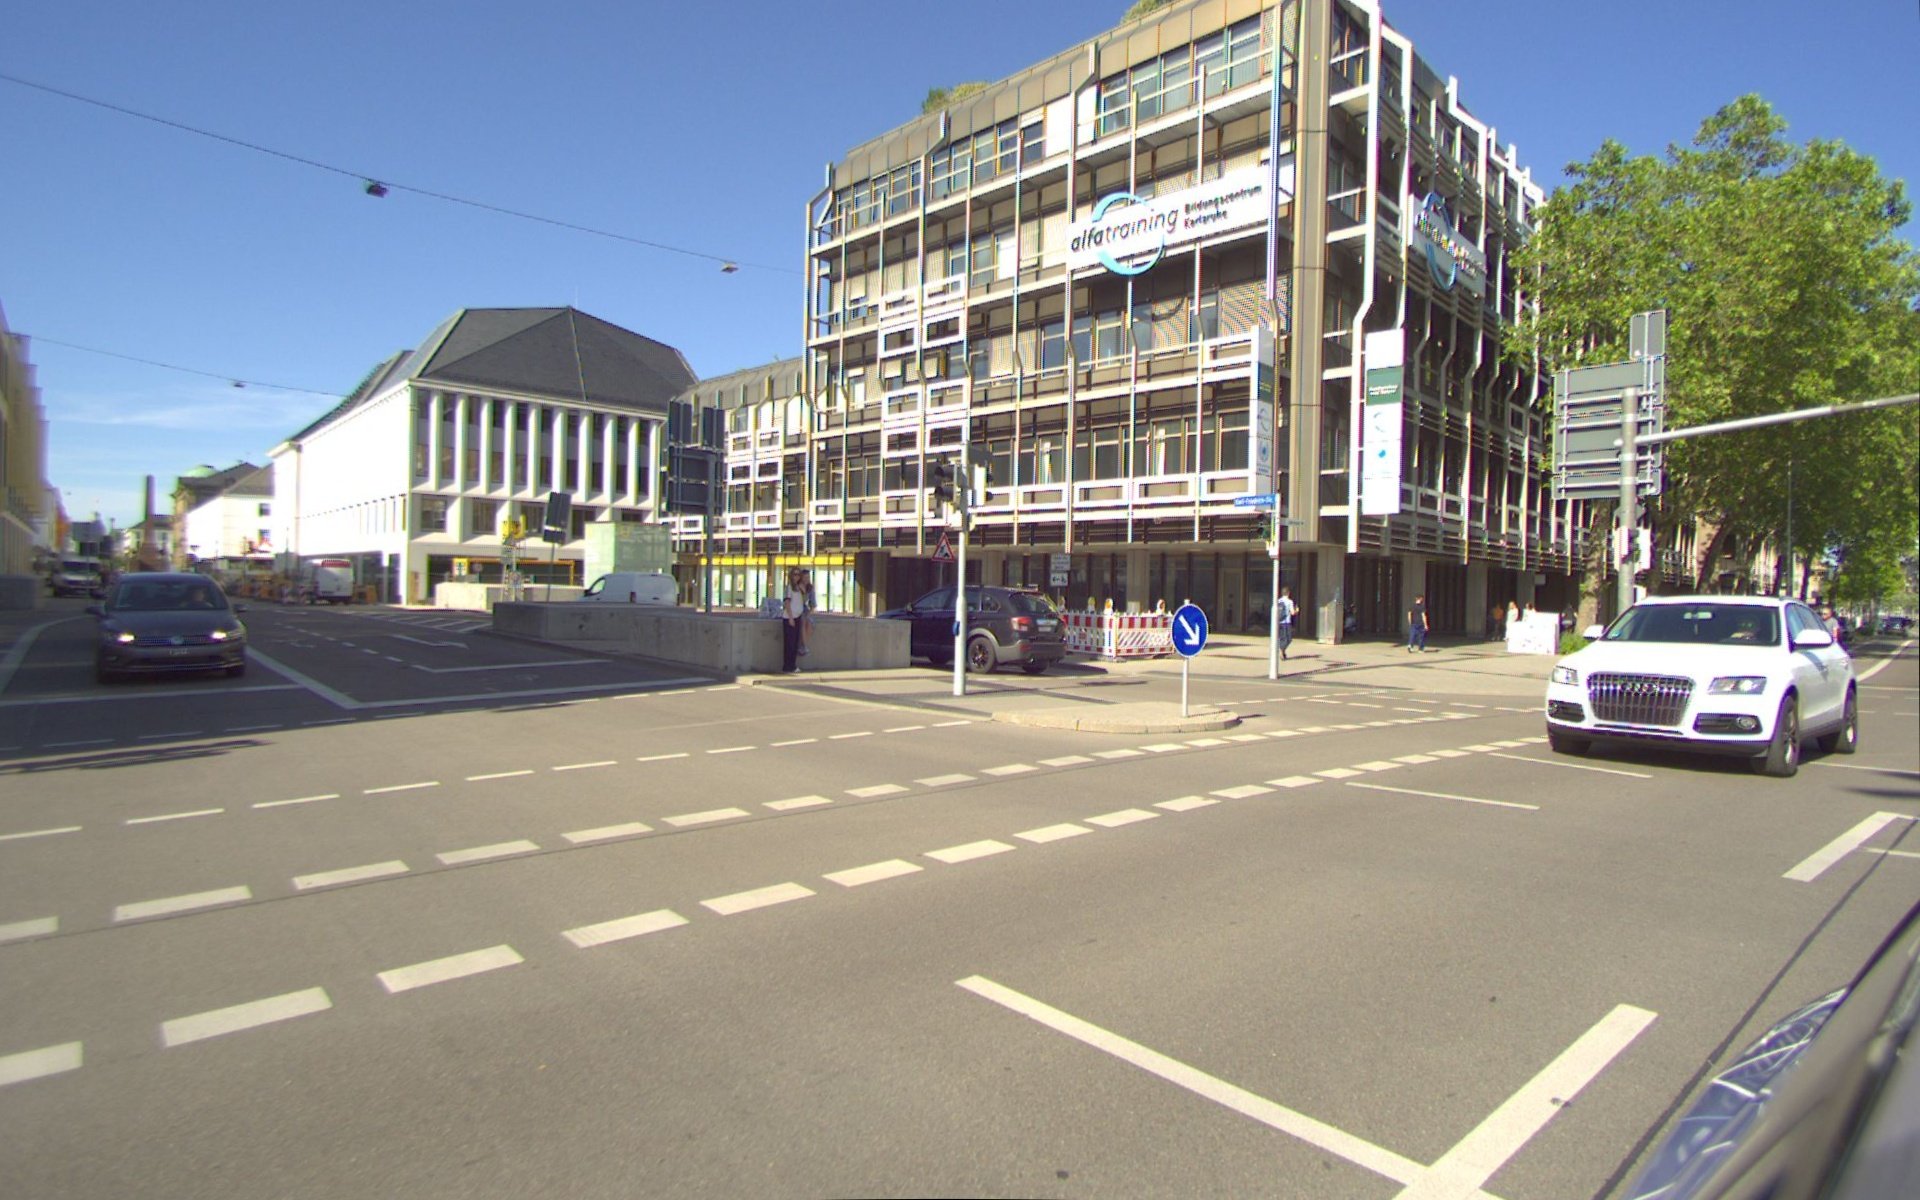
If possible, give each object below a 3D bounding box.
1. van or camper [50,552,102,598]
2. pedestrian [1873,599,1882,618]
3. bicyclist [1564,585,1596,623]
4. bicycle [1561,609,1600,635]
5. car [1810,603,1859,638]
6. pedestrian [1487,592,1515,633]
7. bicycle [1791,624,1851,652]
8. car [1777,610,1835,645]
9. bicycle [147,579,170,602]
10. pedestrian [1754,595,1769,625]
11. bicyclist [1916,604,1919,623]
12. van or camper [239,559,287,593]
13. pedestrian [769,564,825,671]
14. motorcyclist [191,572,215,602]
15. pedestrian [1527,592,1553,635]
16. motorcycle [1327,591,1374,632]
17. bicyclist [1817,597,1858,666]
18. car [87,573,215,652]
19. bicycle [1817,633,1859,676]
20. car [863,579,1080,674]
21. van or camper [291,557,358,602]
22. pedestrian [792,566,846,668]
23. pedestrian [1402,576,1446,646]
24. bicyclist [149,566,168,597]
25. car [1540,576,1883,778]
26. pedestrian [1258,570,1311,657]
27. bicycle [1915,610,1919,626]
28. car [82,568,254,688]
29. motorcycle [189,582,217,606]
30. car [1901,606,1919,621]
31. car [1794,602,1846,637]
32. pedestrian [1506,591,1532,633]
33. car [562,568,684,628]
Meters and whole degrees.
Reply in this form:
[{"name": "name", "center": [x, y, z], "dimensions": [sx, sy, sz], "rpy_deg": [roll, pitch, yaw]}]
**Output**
[{"name": "van or camper", "center": [-51.861, -1.463, 59.296], "dimensions": [2.141, 2.545, 6.415], "rpy_deg": [1, 1, -42]}, {"name": "pedestrian", "center": [92.404, 0.883, 101.930], "dimensions": [0.590, 1.864, 0.560], "rpy_deg": [0, -1, 45]}, {"name": "bicyclist", "center": [24.788, 0.158, 40.469], "dimensions": [0.881, 1.495, 0.869], "rpy_deg": [1, 0, 45]}, {"name": "bicycle", "center": [24.911, 0.879, 40.600], "dimensions": [0.881, 0.997, 2.018], "rpy_deg": [1, 0, 44]}, {"name": "car", "center": [48.998, 1.120, 56.698], "dimensions": [1.749, 1.844, 4.267], "rpy_deg": [3, 2, 44]}, {"name": "pedestrian", "center": [22.069, 0.509, 41.300], "dimensions": [0.992, 1.620, 0.667], "rpy_deg": [1, 2, -45]}, {"name": "bicycle", "center": [35.321, 1.557, 41.539], "dimensions": [1.842, 0.972, 0.701], "rpy_deg": [4, 2, 41]}, {"name": "car", "center": [40.255, 1.266, 48.118], "dimensions": [1.749, 1.508, 4.486], "rpy_deg": [3, 2, 44]}, {"name": "bicycle", "center": [-43.907, -0.540, 55.431], "dimensions": [0.782, 1.229, 2.958], "rpy_deg": [0, 1, -42]}, {"name": "pedestrian", "center": [55.285, 0.658, 69.808], "dimensions": [0.737, 2.039, 0.617], "rpy_deg": [0, -1, 37]}, {"name": "bicyclist", "center": [71.097, 1.006, 74.650], "dimensions": [0.889, 1.406, 0.828], "rpy_deg": [1, 0, -45]}, {"name": "van or camper", "center": [-54.367, -1.876, 78.841], "dimensions": [2.283, 2.545, 6.416], "rpy_deg": [1, 1, -42]}, {"name": "pedestrian", "center": [-2.593, 0.259, 16.079], "dimensions": [0.658, 1.632, 0.520], "rpy_deg": [3, 2, 36]}, {"name": "motorcyclist", "center": [-35.234, -0.600, 47.094], "dimensions": [0.782, 1.400, 1.081], "rpy_deg": [0, 1, -42]}, {"name": "pedestrian", "center": [22.895, 0.524, 39.954], "dimensions": [0.716, 1.620, 0.667], "rpy_deg": [1, 2, -44]}, {"name": "motorcycle", "center": [14.394, 0.415, 37.307], "dimensions": [0.823, 1.459, 2.088], "rpy_deg": [1, 0, 45]}, {"name": "bicyclist", "center": [22.142, 0.794, 25.532], "dimensions": [0.709, 1.709, 0.839], "rpy_deg": [-2, -2, 44]}, {"name": "car", "center": [-17.317, 0.179, 21.579], "dimensions": [1.829, 1.438, 4.611], "rpy_deg": [-2, 3, -42]}, {"name": "bicycle", "center": [22.196, 1.362, 25.579], "dimensions": [0.709, 1.006, 1.893], "rpy_deg": [-2, -2, 43]}, {"name": "car", "center": [0.137, 0.454, 20.427], "dimensions": [4.398, 1.721, 1.762], "rpy_deg": [1, 0, 44]}, {"name": "van or camper", "center": [-37.423, -1.208, 59.467], "dimensions": [2.283, 2.545, 6.416], "rpy_deg": [1, 1, -42]}, {"name": "pedestrian", "center": [-2.322, 0.267, 16.672], "dimensions": [0.658, 1.632, 0.520], "rpy_deg": [3, 2, 36]}, {"name": "pedestrian", "center": [13.701, 0.314, 29.862], "dimensions": [0.944, 2.039, 1.065], "rpy_deg": [1, 0, 38]}, {"name": "bicyclist", "center": [-43.917, -1.000, 55.452], "dimensions": [0.782, 1.691, 0.954], "rpy_deg": [0, 0, -42]}, {"name": "car", "center": [7.776, 0.624, 10.320], "dimensions": [4.333, 1.634, 1.823], "rpy_deg": [1, 1, -40]}, {"name": "pedestrian", "center": [7.854, 0.311, 24.495], "dimensions": [0.943, 2.039, 1.066], "rpy_deg": [1, 0, 34]}, {"name": "bicycle", "center": [71.083, 1.347, 74.652], "dimensions": [2.511, 1.144, 0.843], "rpy_deg": [1, 0, -45]}, {"name": "car", "center": [-12.589, 0.320, 15.984], "dimensions": [1.829, 1.632, 4.191], "rpy_deg": [-2, 2, -42]}, {"name": "motorcycle", "center": [-35.293, -0.296, 47.176], "dimensions": [0.782, 1.112, 2.958], "rpy_deg": [0, 1, -42]}, {"name": "car", "center": [101.544, 1.444, 107.690], "dimensions": [1.993, 1.627, 3.835], "rpy_deg": [1, 0, 43]}, {"name": "car", "center": [44.882, 0.995, 52.794], "dimensions": [1.749, 1.653, 4.267], "rpy_deg": [3, 2, 44]}, {"name": "pedestrian", "center": [22.533, 0.479, 40.780], "dimensions": [0.715, 1.620, 0.667], "rpy_deg": [1, 2, -42]}, {"name": "car", "center": [-10.548, -0.068, 31.552], "dimensions": [4.147, 1.755, 1.763], "rpy_deg": [1, 0, 42]}]
